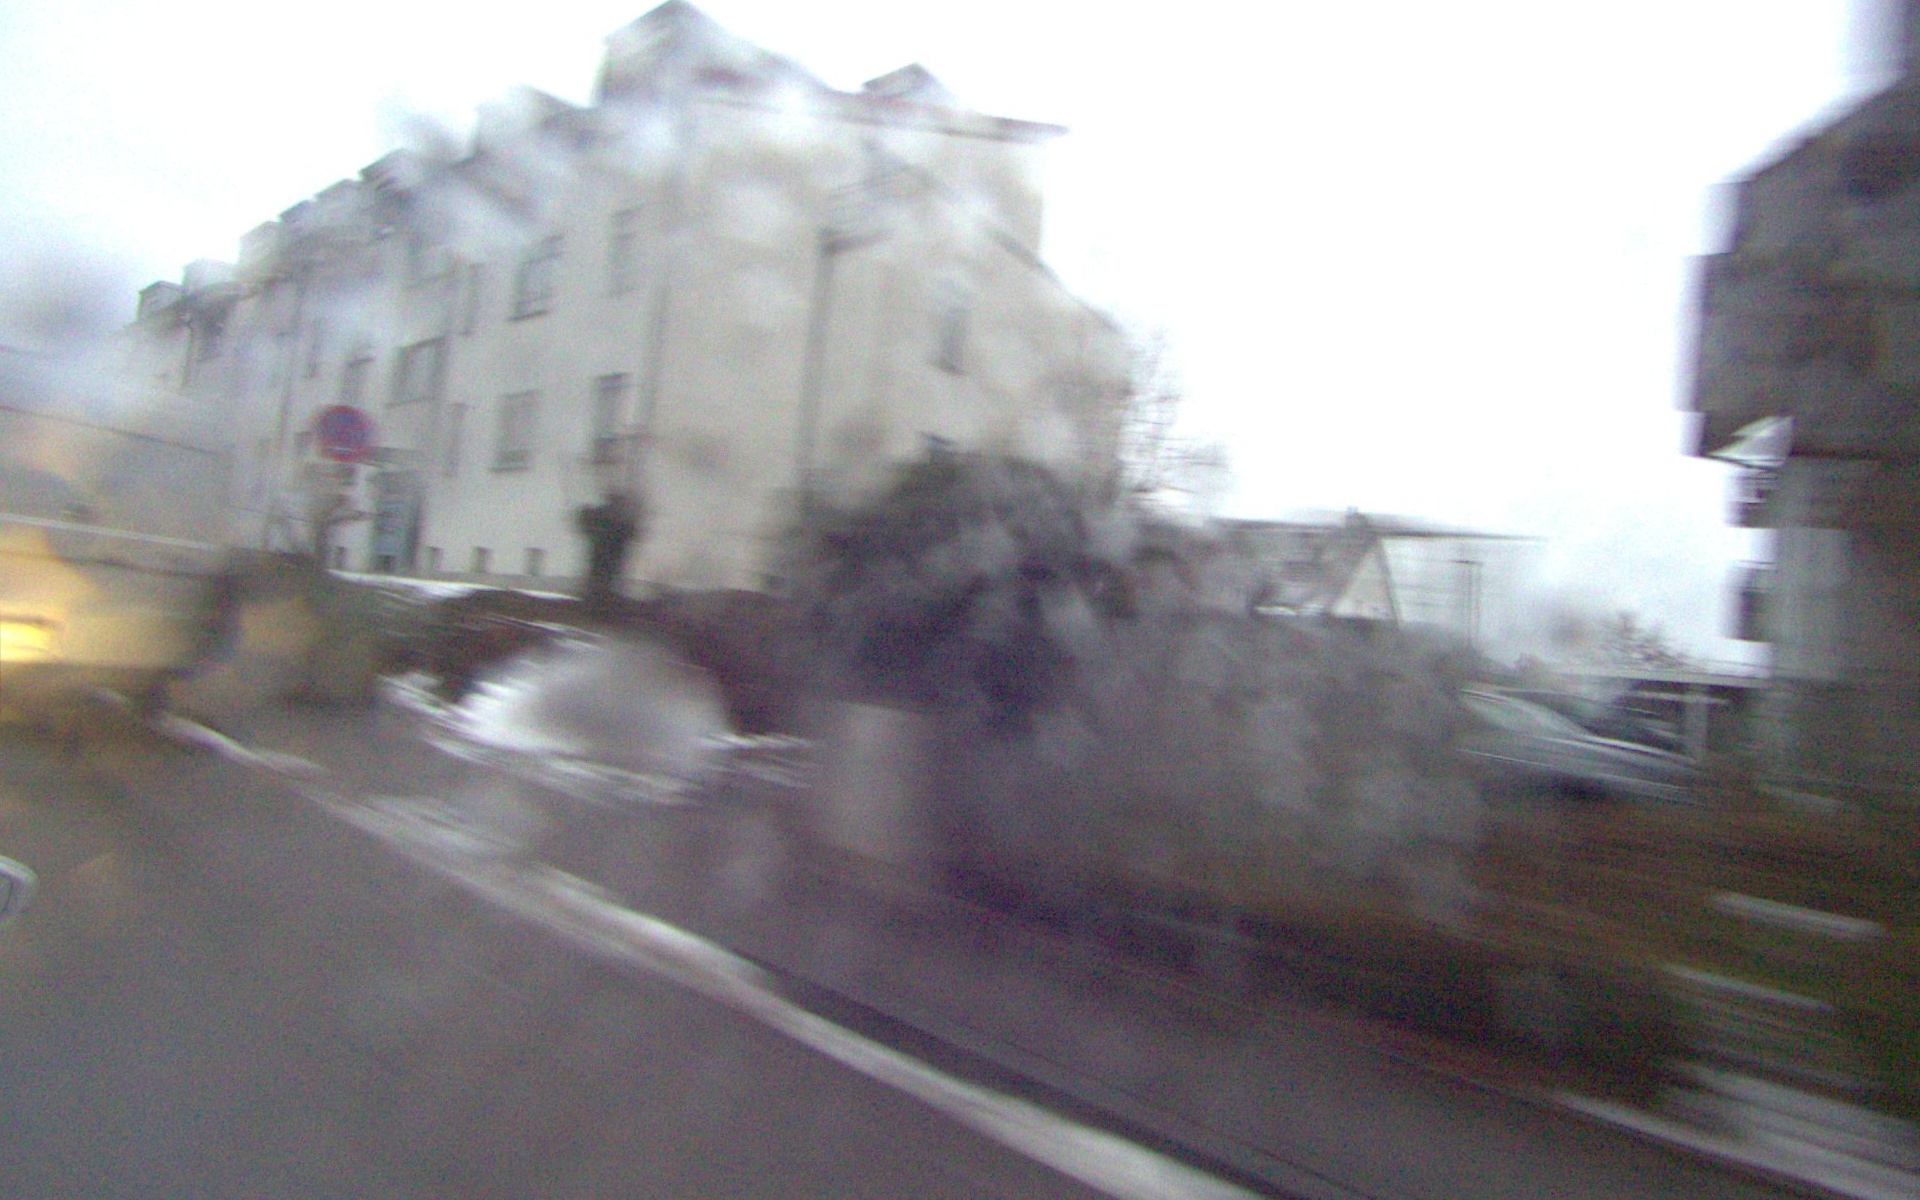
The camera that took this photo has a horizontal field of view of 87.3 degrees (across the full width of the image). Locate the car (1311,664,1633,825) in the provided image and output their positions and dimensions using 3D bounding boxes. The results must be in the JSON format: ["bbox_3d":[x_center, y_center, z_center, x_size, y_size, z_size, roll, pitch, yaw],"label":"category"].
[{"bbox_3d":[7.139,1.949,14.143,3.691,1.503,1.851,7,-3,34],"label":"car"}]

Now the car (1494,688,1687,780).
[{"bbox_3d":[15.199,3.212,24.394,3.691,1.546,1.851,7,-3,34],"label":"car"}]

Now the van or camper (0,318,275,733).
[{"bbox_3d":[-8.474,-0.713,8.475,6.686,2.536,2.017,6,-2,35],"label":"van or camper"}]
